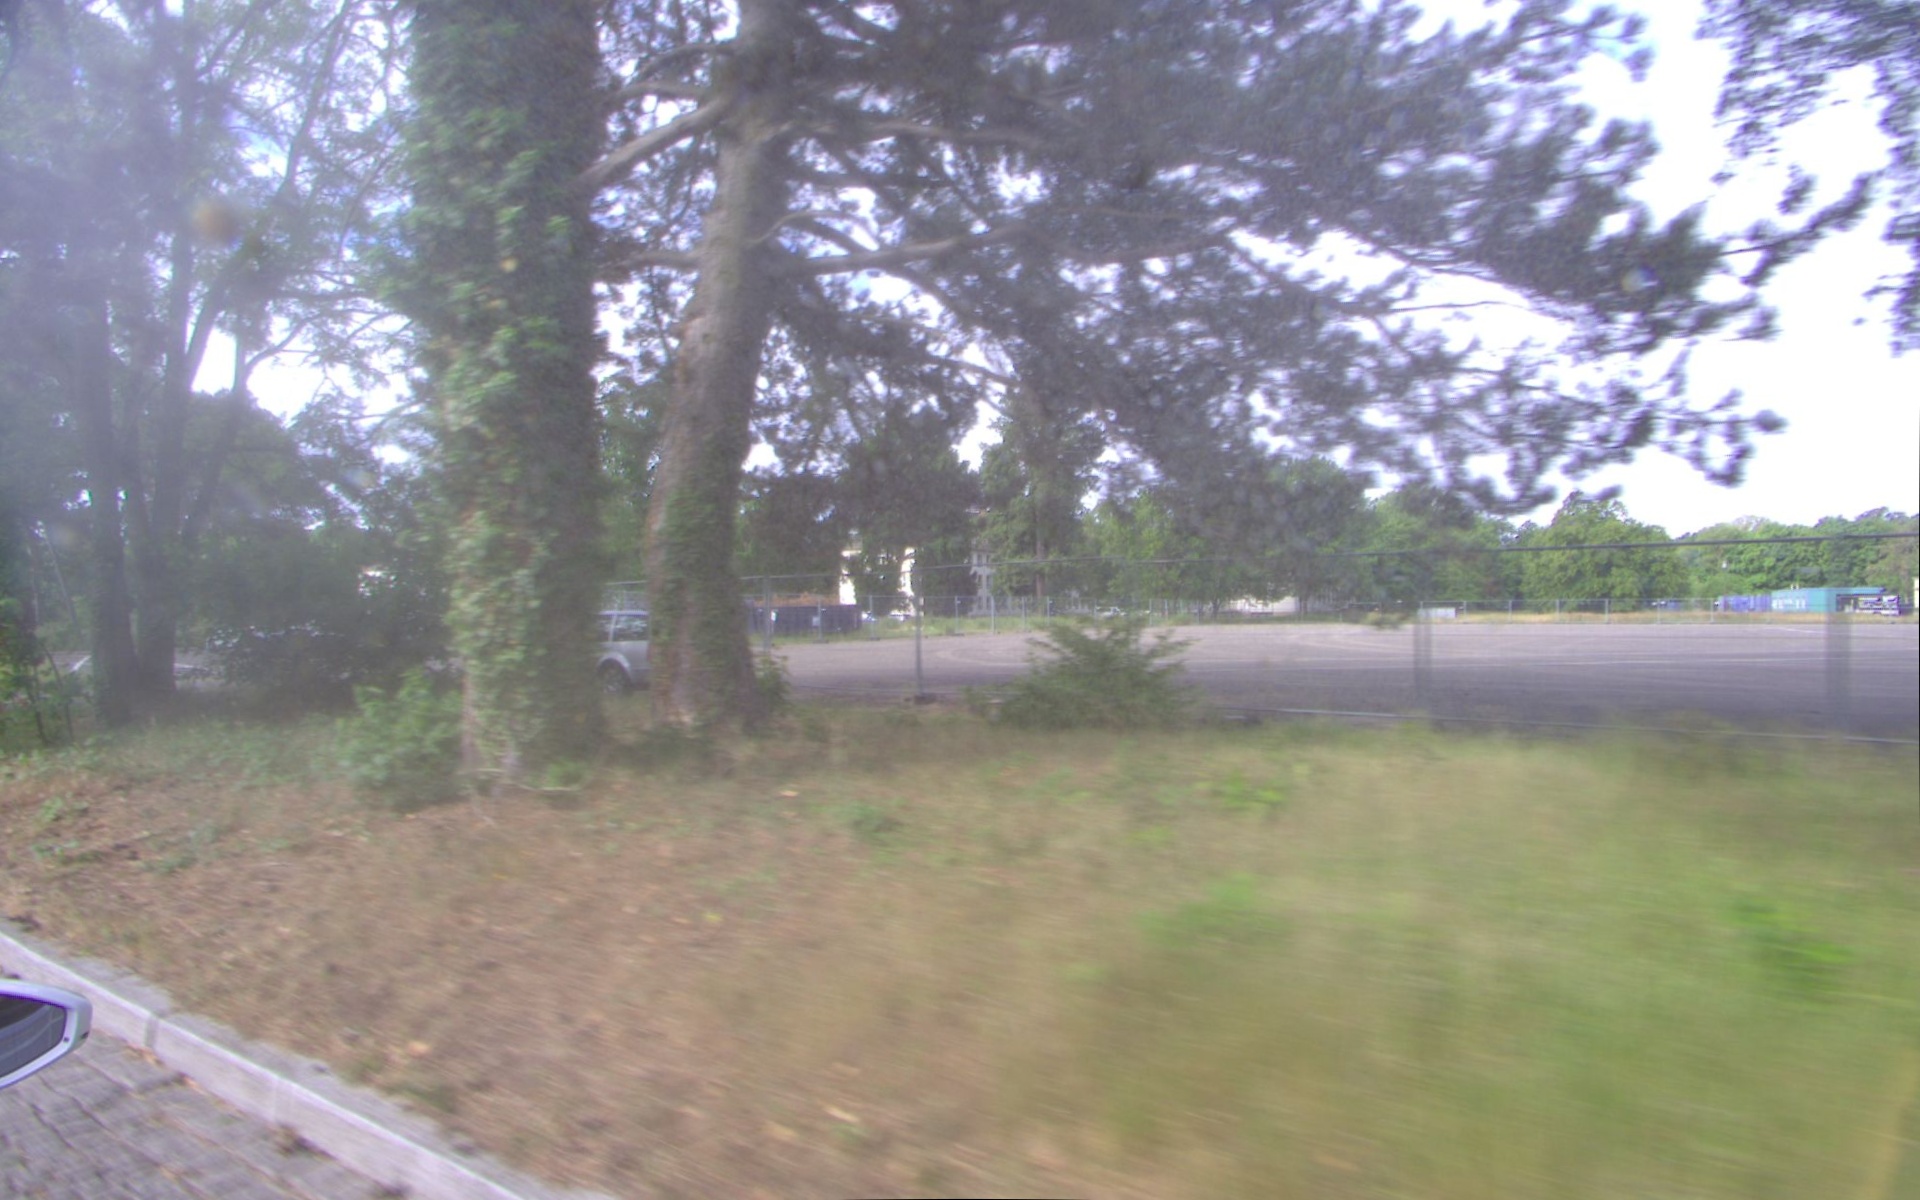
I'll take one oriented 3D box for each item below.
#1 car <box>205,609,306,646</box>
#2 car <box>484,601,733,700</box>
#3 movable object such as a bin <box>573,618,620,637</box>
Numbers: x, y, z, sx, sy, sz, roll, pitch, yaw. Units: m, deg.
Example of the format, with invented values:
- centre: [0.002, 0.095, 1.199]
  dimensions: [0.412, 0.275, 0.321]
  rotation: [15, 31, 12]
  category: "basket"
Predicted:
- centre: [-31.604, 1.242, 44.886]
  dimensions: [4.359, 1.500, 1.991]
  rotation: [-2, -1, 29]
  category: "car"
- centre: [-5.780, 0.801, 16.338]
  dimensions: [4.013, 1.444, 1.645]
  rotation: [-1, -3, 31]
  category: "car"
- centre: [-16.662, 1.241, 45.851]
  dimensions: [1.928, 0.836, 1.181]
  rotation: [-1, 0, 37]
  category: "movable object such as a bin"
